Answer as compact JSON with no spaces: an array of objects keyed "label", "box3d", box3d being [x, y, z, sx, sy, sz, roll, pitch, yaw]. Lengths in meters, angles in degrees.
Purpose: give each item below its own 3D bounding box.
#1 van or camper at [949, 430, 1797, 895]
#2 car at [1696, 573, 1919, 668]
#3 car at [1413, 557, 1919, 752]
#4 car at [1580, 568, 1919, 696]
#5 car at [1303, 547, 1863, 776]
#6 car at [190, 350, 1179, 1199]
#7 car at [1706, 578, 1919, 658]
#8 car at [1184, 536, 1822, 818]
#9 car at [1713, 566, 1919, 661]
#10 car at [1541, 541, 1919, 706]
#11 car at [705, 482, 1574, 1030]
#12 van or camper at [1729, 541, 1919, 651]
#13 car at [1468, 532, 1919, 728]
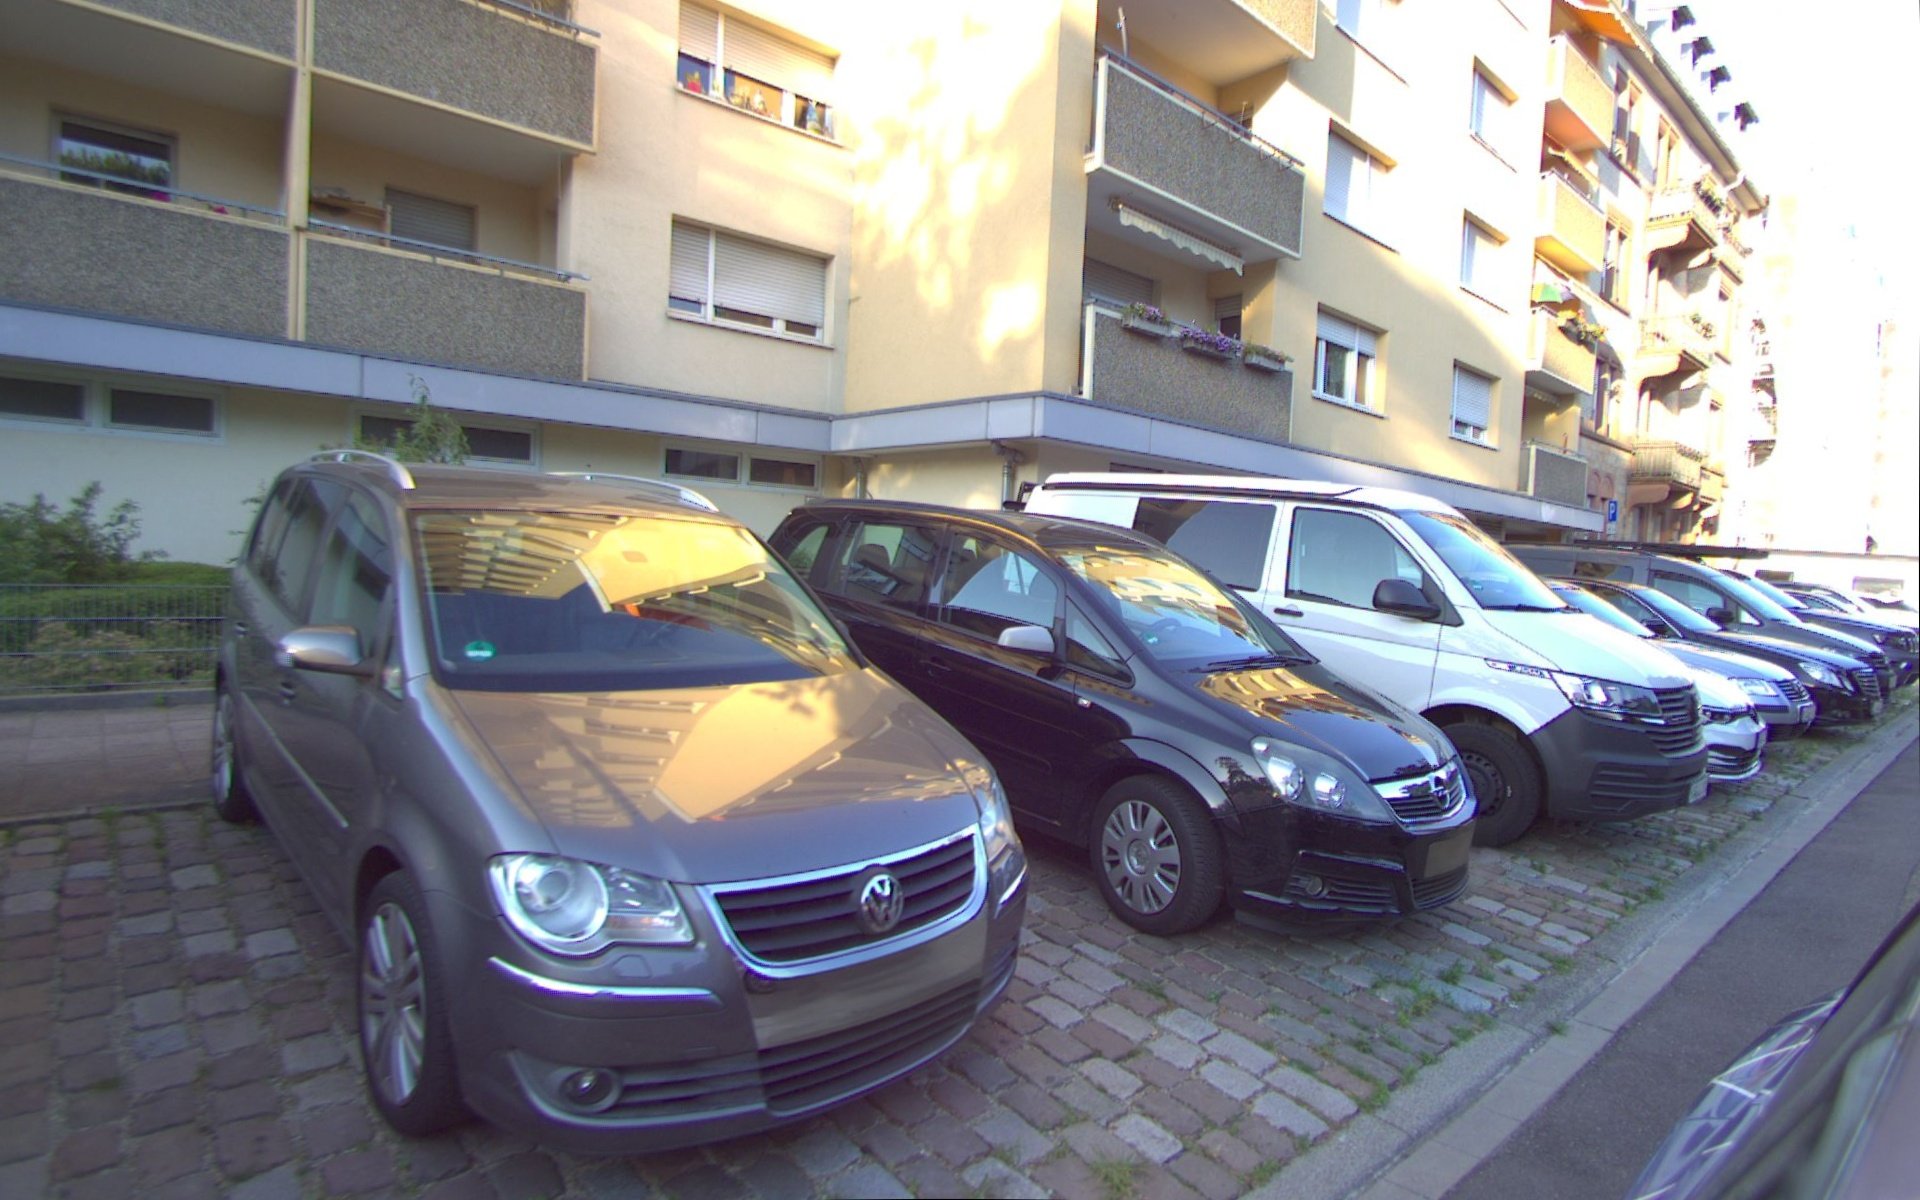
[{"label":"van or camper","box3d":[2.444,-0.010,7.295,2.006,2.192,5.145,0,7,-43]},{"label":"car","box3d":[18.255,0.383,21.025,1.813,1.572,4.415,-2,6,-40]},{"label":"car","box3d":[7.848,0.411,11.631,1.814,1.581,4.414,-2,6,-41]},{"label":"car","box3d":[13.154,0.385,16.850,1.813,1.572,4.417,-2,6,-39]},{"label":"car","box3d":[5.980,0.378,10.209,1.814,1.611,4.414,-2,6,-41]},{"label":"car","box3d":[-1.567,0.168,3.932,1.815,1.680,4.412,-2,8,-43]},{"label":"car","box3d":[21.404,0.374,25.047,1.813,1.638,4.414,-2,4,-40]},{"label":"car","box3d":[4.320,0.363,8.692,1.814,1.650,4.414,-2,6,-41]},{"label":"car","box3d":[20.019,0.251,22.848,1.811,1.769,4.420,-1,6,-36]},{"label":"car","box3d":[11.391,0.210,14.858,1.814,1.885,4.523,0,4,-41]},{"label":"car","box3d":[0.513,0.306,5.415,1.752,1.680,4.334,-2,8,-43]},{"label":"van or camper","box3d":[24.049,-0.074,26.290,2.014,2.533,6.074,1,5,-41]},{"label":"car","box3d":[9.573,0.186,13.427,1.814,2.004,4.647,-2,6,-41]}]
